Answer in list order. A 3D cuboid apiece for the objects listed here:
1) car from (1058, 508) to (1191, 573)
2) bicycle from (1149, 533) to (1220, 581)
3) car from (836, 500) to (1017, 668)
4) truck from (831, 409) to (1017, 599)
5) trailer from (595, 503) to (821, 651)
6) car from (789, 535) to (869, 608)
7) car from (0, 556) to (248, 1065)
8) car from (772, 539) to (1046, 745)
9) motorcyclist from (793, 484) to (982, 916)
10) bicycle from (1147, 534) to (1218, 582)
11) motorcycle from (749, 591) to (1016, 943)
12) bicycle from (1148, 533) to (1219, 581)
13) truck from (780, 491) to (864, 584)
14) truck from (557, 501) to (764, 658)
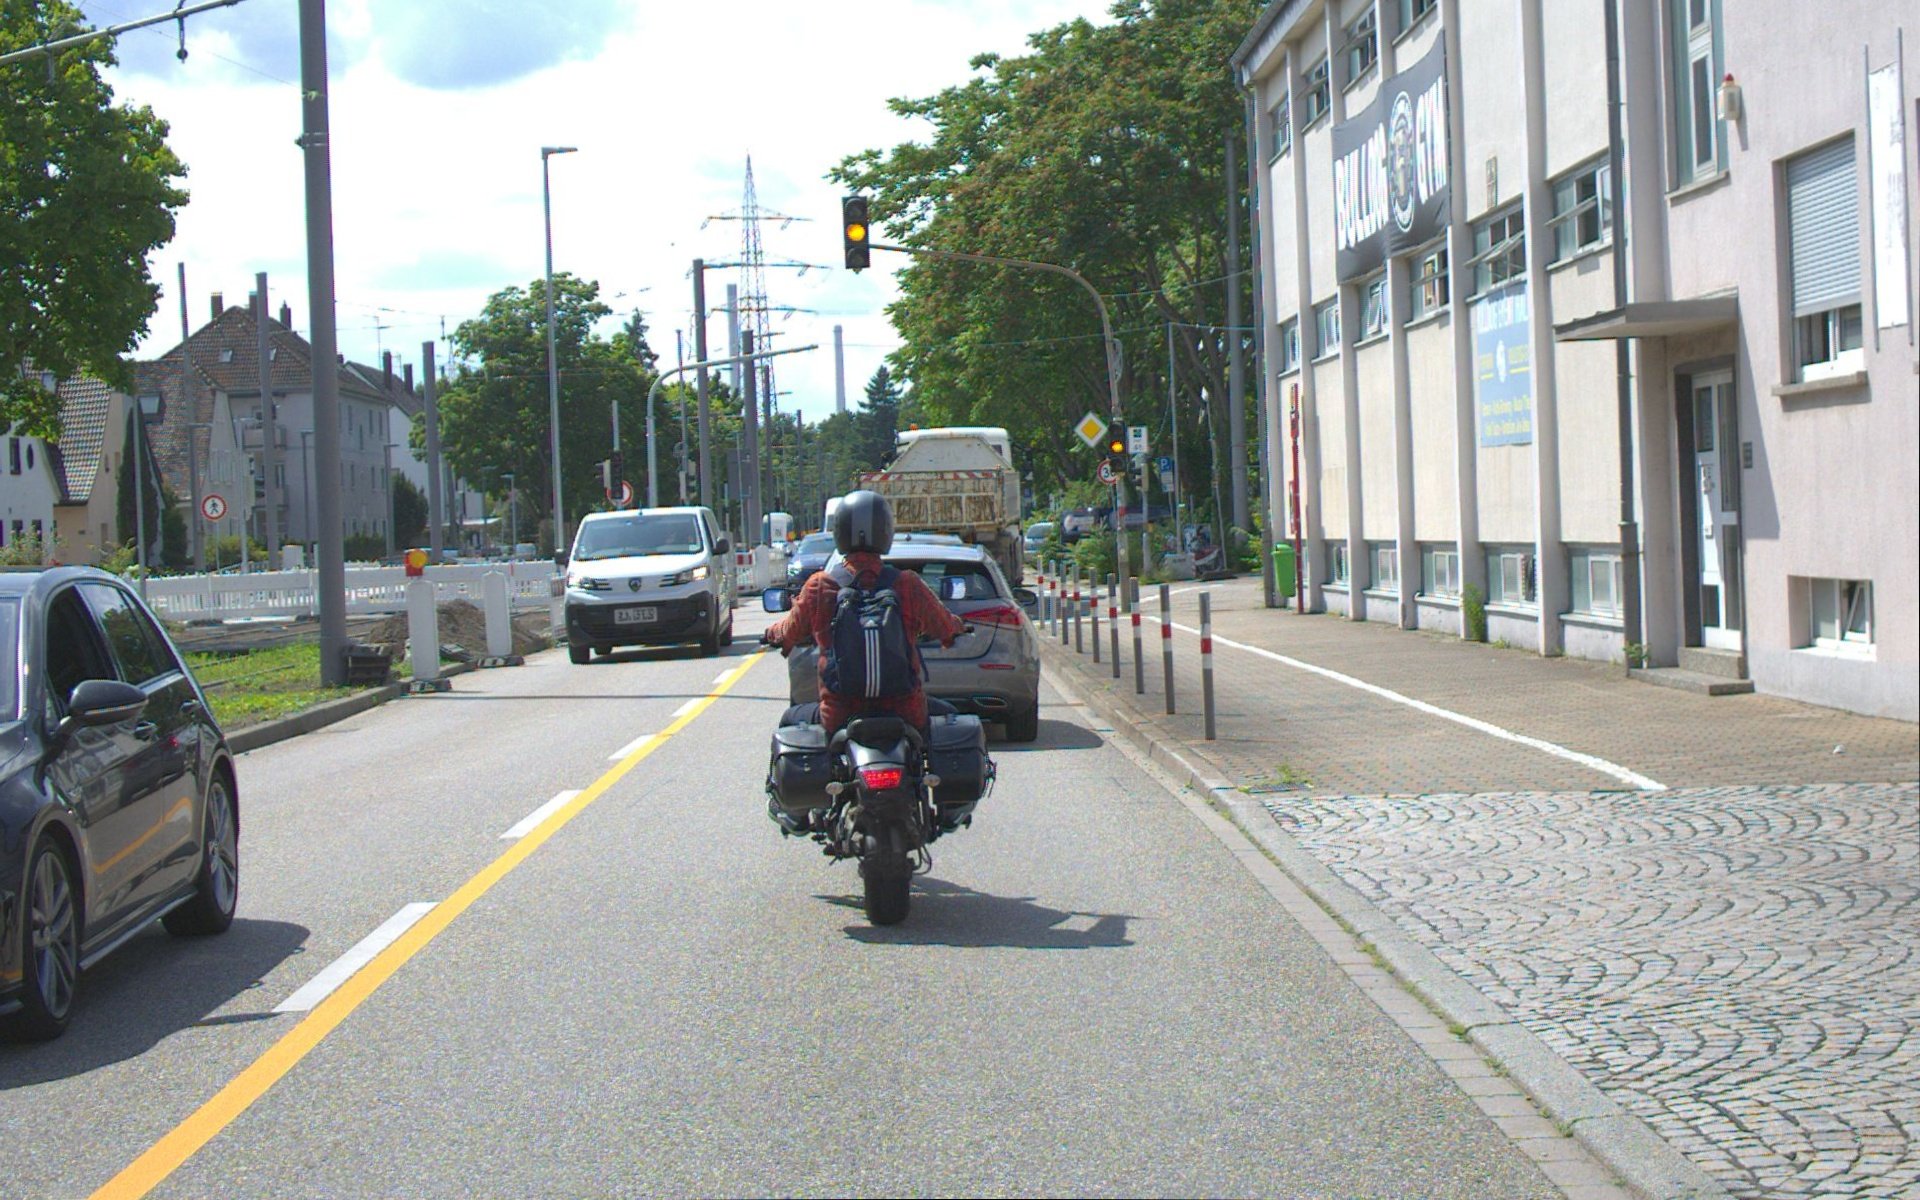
[{"bbox_3d":[4.952,-1.779,103.236,1.802,1.919,3.989,0,1,45],"label":"car"},{"bbox_3d":[5.471,-1.043,83.692,1.708,1.168,0.438,0,0,5],"label":"bicycle"},{"bbox_3d":[-0.323,-0.240,39.754,1.901,1.706,4.720,-2,2,1],"label":"car"},{"bbox_3d":[-0.537,-1.635,60.953,2.967,3.162,7.764,0,1,2],"label":"truck"},{"bbox_3d":[-3.450,-0.360,48.308,2.063,1.829,5.484,-4,1,7],"label":"trailer"},{"bbox_3d":[-2.847,-0.645,75.539,1.644,1.493,4.269,-1,2,-1],"label":"car"},{"bbox_3d":[-3.590,0.620,11.320,1.692,1.408,3.860,-4,1,-1],"label":"car"},{"bbox_3d":[-0.457,0.253,25.672,1.731,1.399,4.087,0,1,-5],"label":"car"},{"bbox_3d":[-0.272,0.368,13.100,0.698,1.599,0.692,0,0,-1],"label":"motorcyclist"},{"bbox_3d":[5.452,-1.033,84.201,1.708,1.168,0.438,0,0,5],"label":"bicycle"},{"bbox_3d":[-0.291,0.590,13.408,0.942,1.196,2.473,0,1,-1],"label":"motorcycle"},{"bbox_3d":[5.409,-1.043,83.239,1.708,1.168,0.438,0,0,5],"label":"bicycle"},{"bbox_3d":[-4.021,-1.862,100.966,2.093,2.468,5.196,-3,3,0],"label":"truck"},{"bbox_3d":[-3.794,-0.316,44.381,1.820,1.903,5.116,0,2,5],"label":"truck"}]
